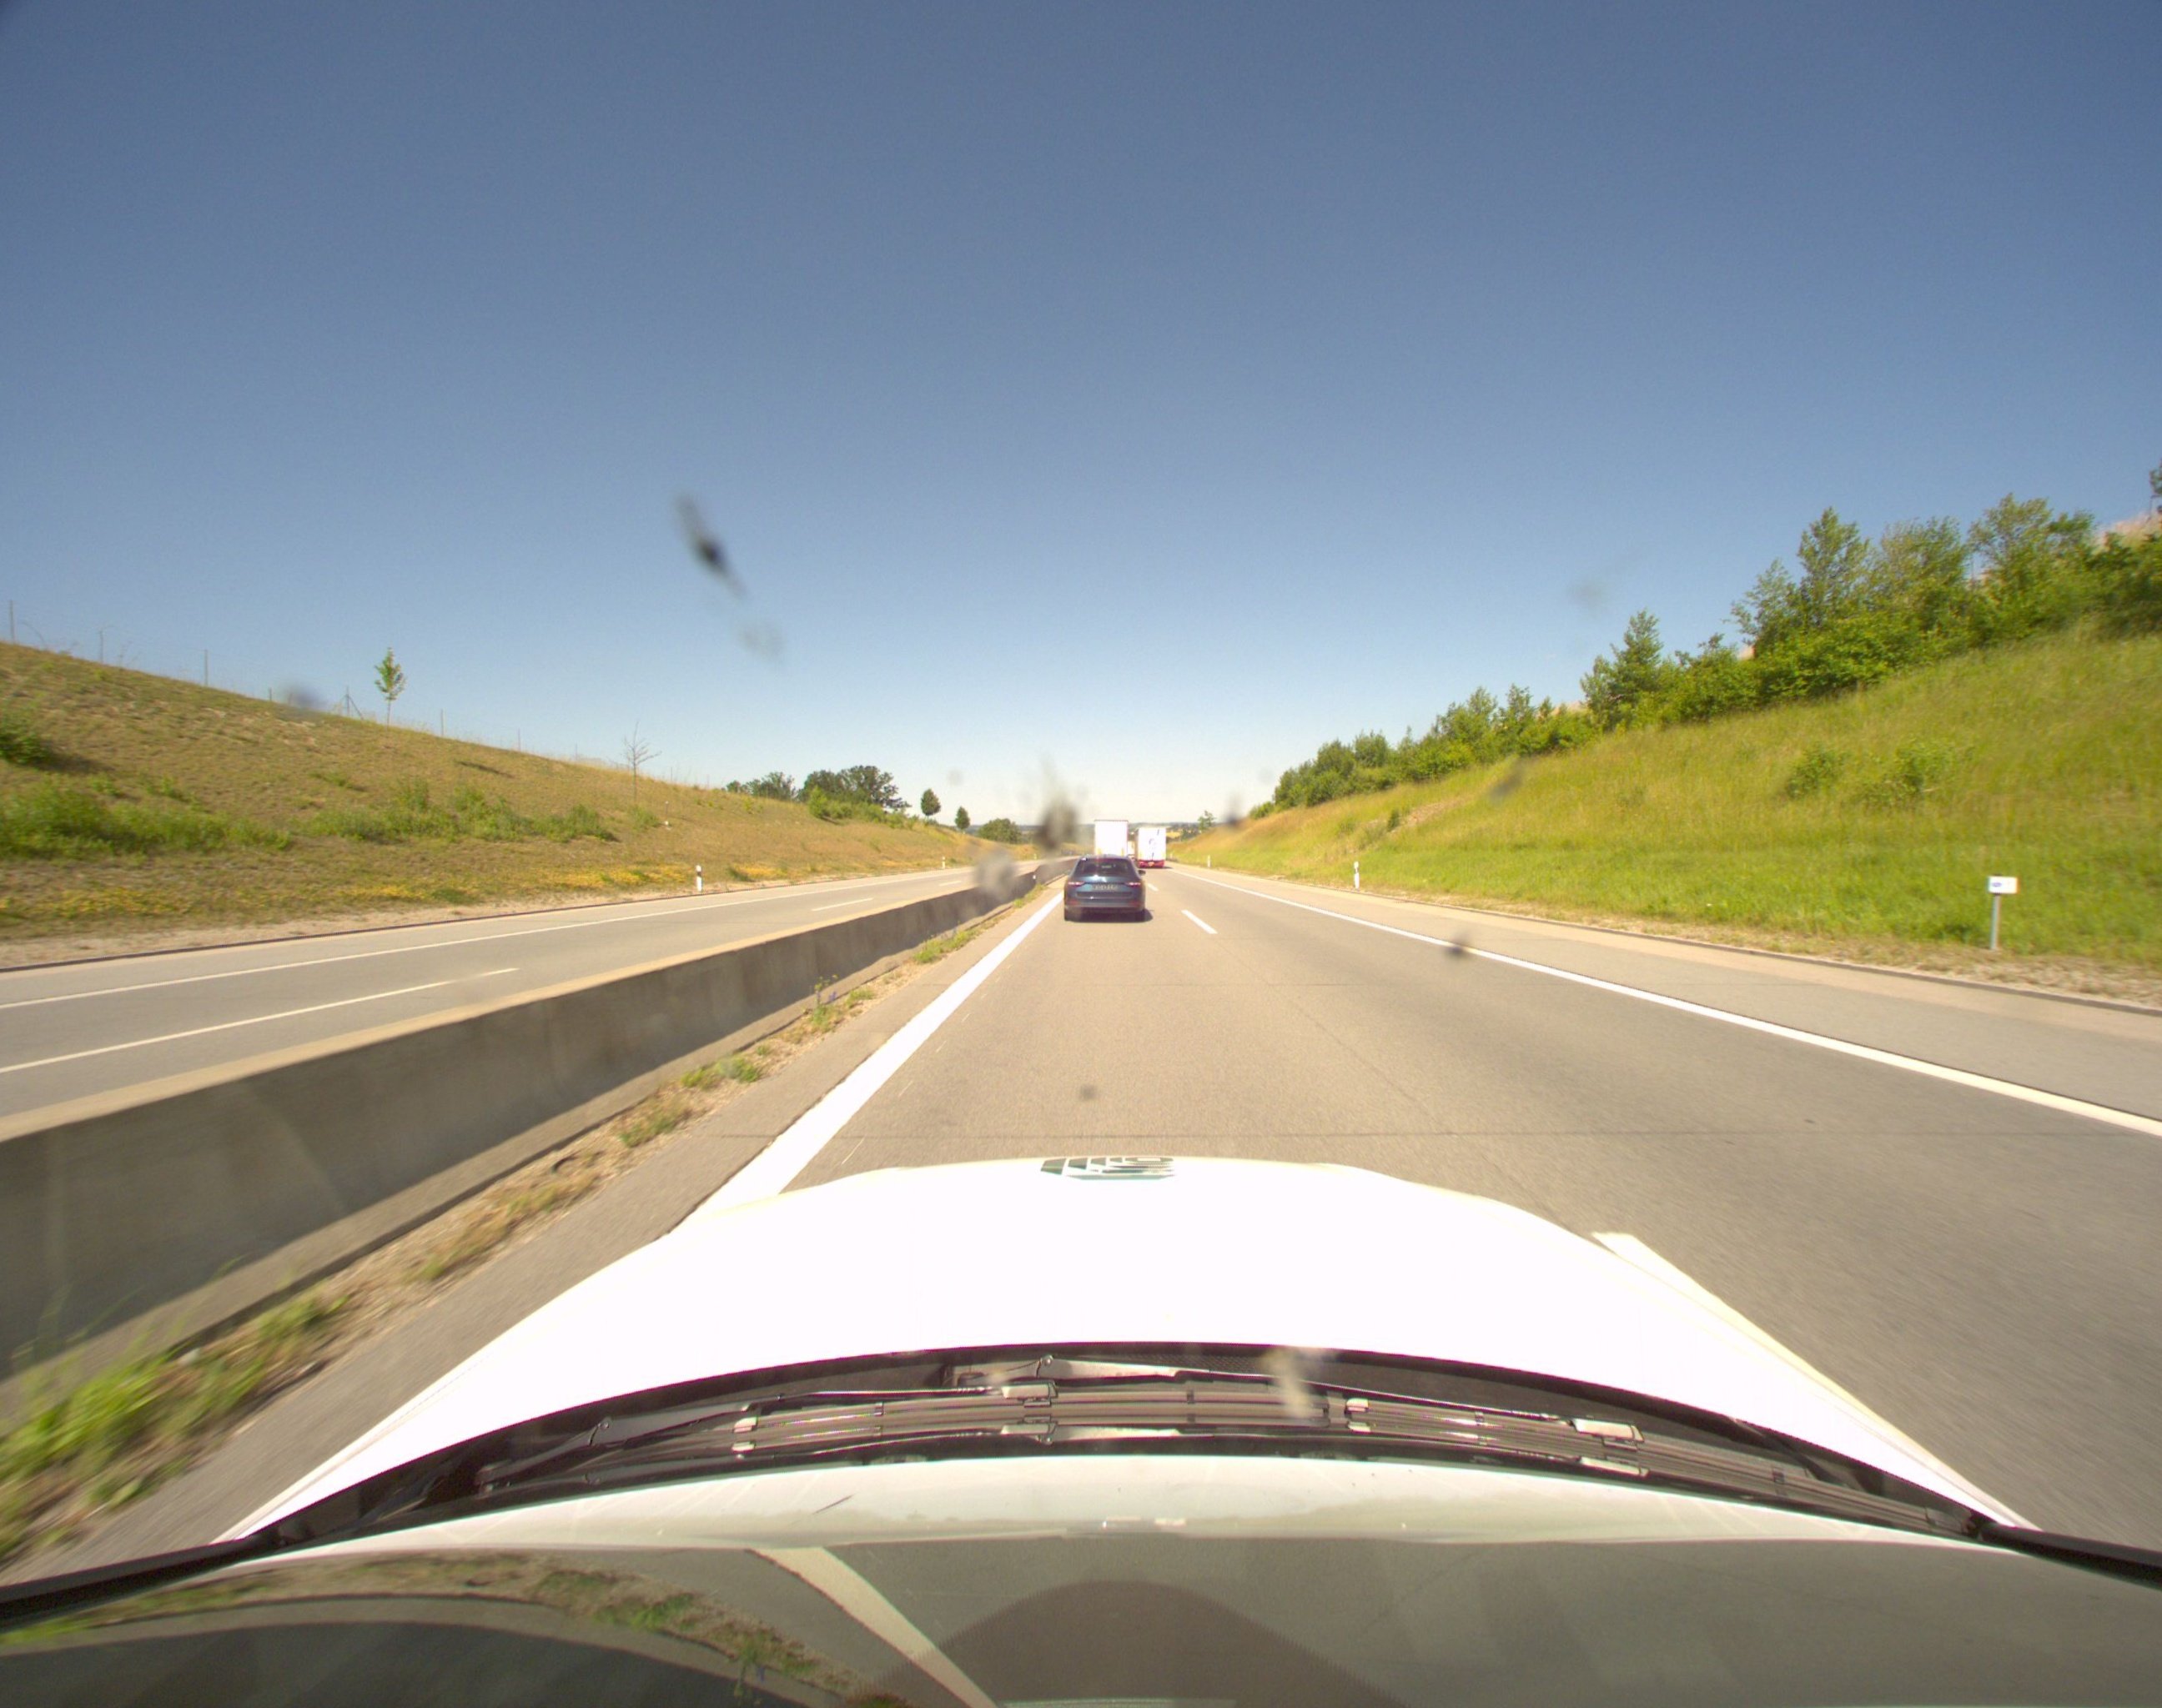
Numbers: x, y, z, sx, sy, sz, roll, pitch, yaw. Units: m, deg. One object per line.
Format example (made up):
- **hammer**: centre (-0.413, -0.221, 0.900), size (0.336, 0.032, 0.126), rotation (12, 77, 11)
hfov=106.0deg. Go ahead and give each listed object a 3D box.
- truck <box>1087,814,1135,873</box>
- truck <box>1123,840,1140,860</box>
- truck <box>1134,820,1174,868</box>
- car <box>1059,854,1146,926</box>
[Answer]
- **truck**: centre (2.634, -0.832, 67.527), size (3.195, 4.381, 11.249), rotation (-2, 0, 5)
- **truck**: centre (11.855, -0.995, 189.277), size (3.587, 4.381, 11.248), rotation (-2, 0, 5)
- **truck**: centre (7.298, -0.989, 81.941), size (3.587, 4.381, 11.248), rotation (-2, 0, 5)
- **car**: centre (0.483, 0.742, 18.716), size (1.770, 1.441, 3.789), rotation (-1, 0, 1)
